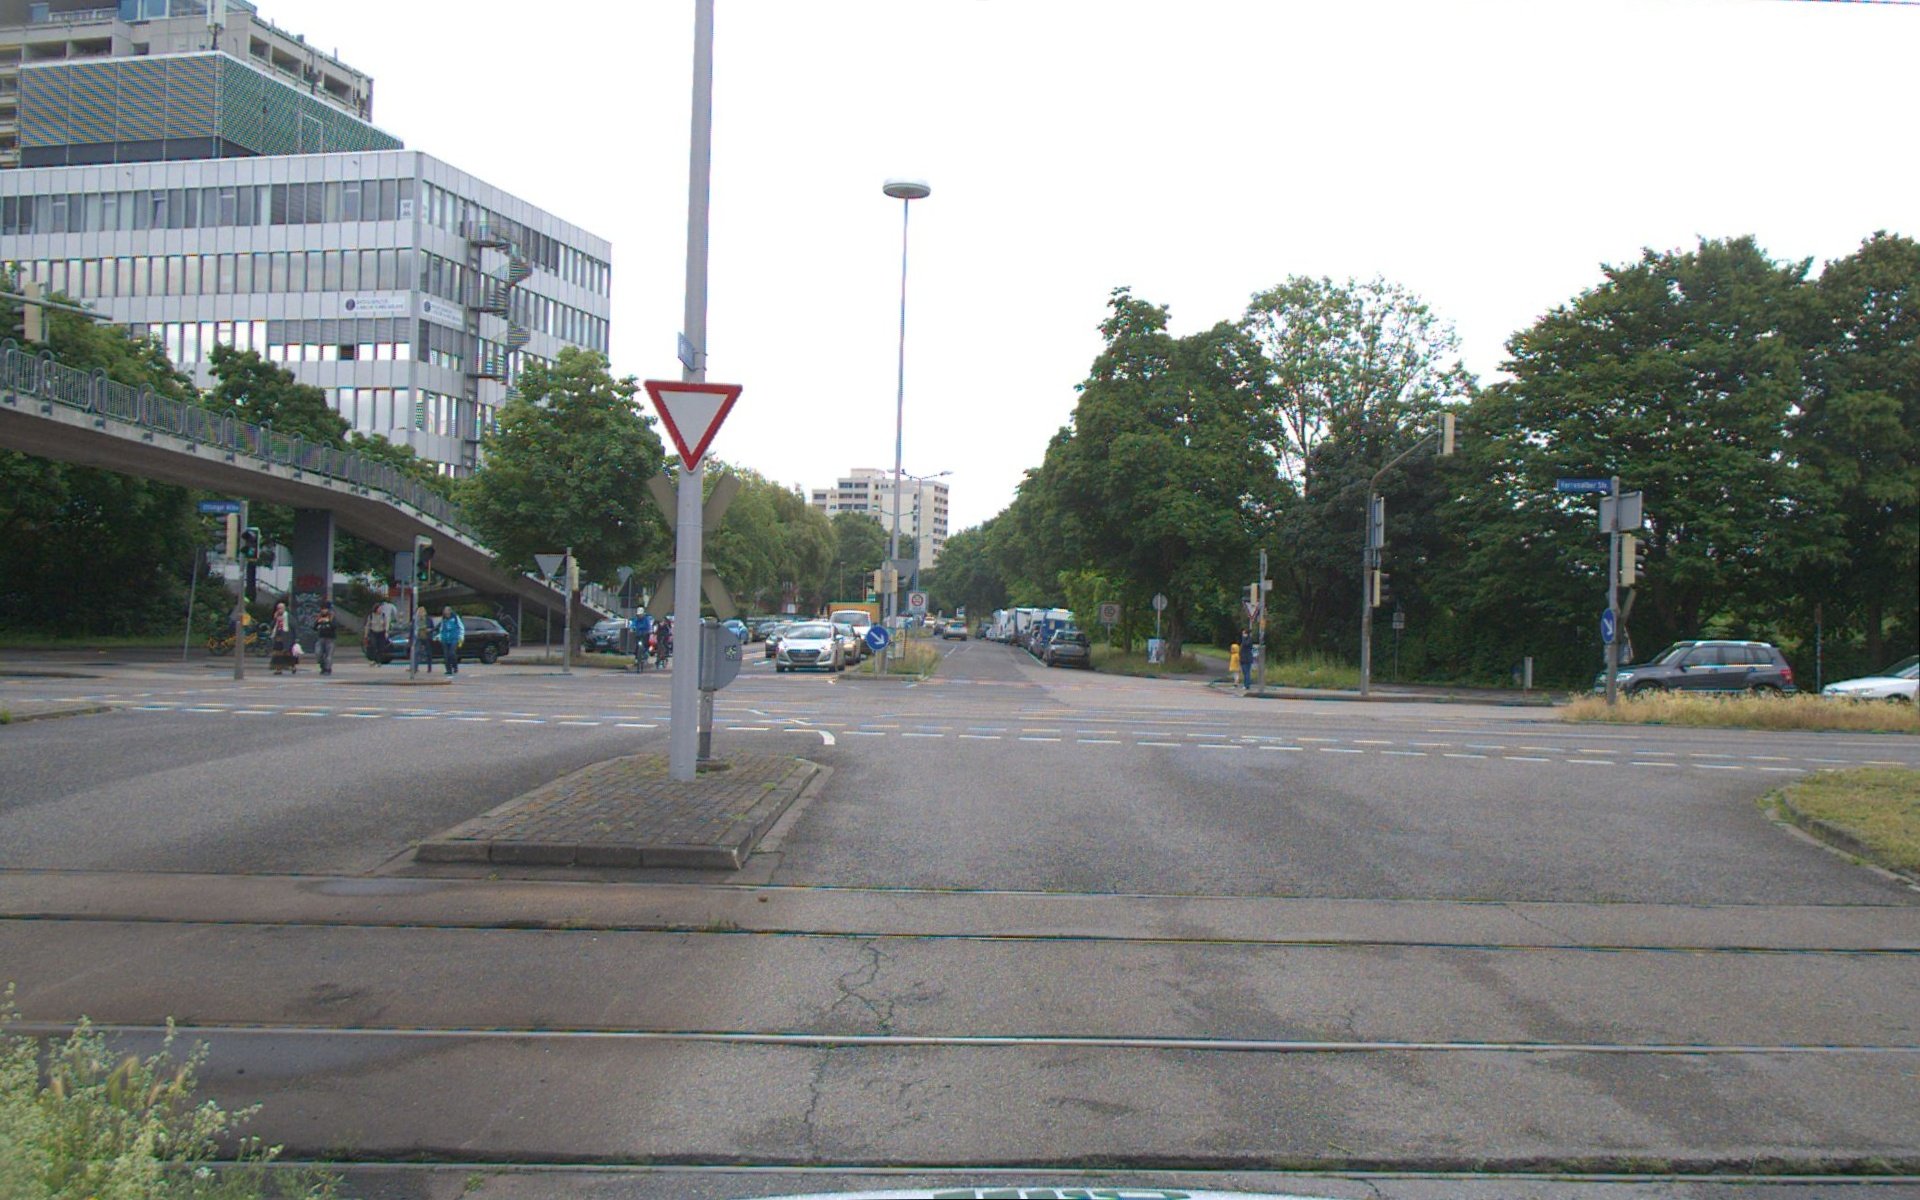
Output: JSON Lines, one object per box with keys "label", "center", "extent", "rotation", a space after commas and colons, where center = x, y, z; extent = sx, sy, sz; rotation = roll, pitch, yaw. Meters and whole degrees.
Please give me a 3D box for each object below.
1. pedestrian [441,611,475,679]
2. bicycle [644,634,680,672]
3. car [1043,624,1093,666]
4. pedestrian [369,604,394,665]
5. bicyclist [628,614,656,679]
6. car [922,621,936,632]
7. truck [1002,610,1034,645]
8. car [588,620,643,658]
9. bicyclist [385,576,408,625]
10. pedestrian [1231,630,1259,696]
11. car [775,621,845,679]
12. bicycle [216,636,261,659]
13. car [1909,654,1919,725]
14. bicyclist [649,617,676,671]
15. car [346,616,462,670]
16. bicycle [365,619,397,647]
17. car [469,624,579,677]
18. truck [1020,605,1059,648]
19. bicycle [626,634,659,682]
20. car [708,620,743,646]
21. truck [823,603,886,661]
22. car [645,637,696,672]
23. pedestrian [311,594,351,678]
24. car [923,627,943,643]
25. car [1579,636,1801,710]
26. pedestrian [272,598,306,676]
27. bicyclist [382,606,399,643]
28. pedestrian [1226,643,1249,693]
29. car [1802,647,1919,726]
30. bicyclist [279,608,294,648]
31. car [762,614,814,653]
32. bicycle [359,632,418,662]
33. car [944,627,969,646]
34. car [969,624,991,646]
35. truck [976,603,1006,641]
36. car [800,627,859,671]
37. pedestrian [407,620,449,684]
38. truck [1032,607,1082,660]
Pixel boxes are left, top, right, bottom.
{"label": "pedestrian", "center": [-12.332, 1.097, 40.642], "extent": [0.674, 1.633, 0.487], "rotation": [2, -1, -6]}
{"label": "bicycle", "center": [-9.187, 1.615, 51.057], "extent": [0.712, 1.120, 2.263], "rotation": [2, -1, -2]}
{"label": "car", "center": [4.584, 1.901, 70.493], "extent": [1.748, 1.691, 3.998], "rotation": [2, -1, -2]}
{"label": "pedestrian", "center": [-15.298, 0.906, 43.717], "extent": [0.570, 1.607, 0.777], "rotation": [2, -1, -20]}
{"label": "bicyclist", "center": [-8.830, 1.288, 45.959], "extent": [0.631, 1.800, 0.646], "rotation": [2, -1, -2]}
{"label": "car", "center": [-4.382, 3.695, 233.279], "extent": [1.979, 1.532, 3.998], "rotation": [2, -1, -2]}
{"label": "truck", "center": [4.467, 2.154, 128.718], "extent": [1.954, 2.618, 5.374], "rotation": [2, -1, -3]}
{"label": "car", "center": [-15.304, 1.705, 73.668], "extent": [1.637, 1.579, 3.891], "rotation": [2, -1, -1]}
{"label": "bicyclist", "center": [-19.748, 0.022, 57.960], "extent": [0.553, 1.673, 0.531], "rotation": [1, -2, -1]}
{"label": "pedestrian", "center": [7.894, 1.746, 45.864], "extent": [0.643, 1.780, 0.459], "rotation": [2, -1, -2]}
{"label": "car", "center": [-4.408, 1.448, 49.155], "extent": [1.753, 1.545, 4.324], "rotation": [-2, -1, -2]}
{"label": "bicycle", "center": [-23.226, 1.533, 53.281], "extent": [1.284, 0.704, 0.286], "rotation": [2, -1, -38]}
{"label": "car", "center": [24.390, 2.137, 38.171], "extent": [3.907, 1.646, 1.877], "rotation": [2, -1, -3]}
{"label": "bicyclist", "center": [-9.175, 1.356, 50.986], "extent": [0.665, 1.622, 0.695], "rotation": [1, -2, -2]}
{"label": "car", "center": [-16.938, 1.279, 50.622], "extent": [1.632, 1.534, 4.401], "rotation": [2, 0, 6]}
{"label": "bicycle", "center": [-20.294, 1.146, 57.995], "extent": [0.515, 0.965, 1.709], "rotation": [1, -1, 0]}
{"label": "car", "center": [-13.982, 1.602, 53.271], "extent": [1.636, 1.579, 4.003], "rotation": [1, -1, 15]}
{"label": "truck", "center": [5.568, 1.884, 116.678], "extent": [1.955, 2.888, 5.725], "rotation": [2, -1, -5]}
{"label": "bicycle", "center": [-8.885, 1.613, 46.376], "extent": [0.532, 1.289, 2.110], "rotation": [2, -1, -2]}
{"label": "car", "center": [-14.842, 2.079, 104.825], "extent": [1.637, 1.579, 3.999], "rotation": [2, -1, -1]}
{"label": "truck", "center": [-4.275, 1.296, 67.748], "extent": [2.111, 2.237, 5.840], "rotation": [2, -1, 0]}
{"label": "car", "center": [-12.445, 2.334, 71.270], "extent": [1.481, 1.415, 3.532], "rotation": [1, -1, 1]}
{"label": "pedestrian", "center": [-14.119, 0.802, 37.135], "extent": [0.625, 1.835, 0.800], "rotation": [2, -1, -10]}
{"label": "car", "center": [-2.742, 3.570, 167.358], "extent": [1.979, 1.532, 3.998], "rotation": [2, -1, -2]}
{"label": "car", "center": [17.001, 1.682, 38.670], "extent": [4.374, 1.530, 1.846], "rotation": [2, -1, -1]}
{"label": "pedestrian", "center": [-14.936, 0.828, 36.824], "extent": [0.608, 1.721, 0.403], "rotation": [2, -1, -15]}
{"label": "bicyclist", "center": [-18.672, 0.811, 54.245], "extent": [0.396, 1.202, 0.377], "rotation": [1, -1, 1]}
{"label": "pedestrian", "center": [7.809, 1.908, 46.484], "extent": [0.516, 1.365, 0.524], "rotation": [2, -1, -2]}
{"label": "car", "center": [18.292, 1.639, 31.131], "extent": [4.052, 1.381, 1.647], "rotation": [2, -1, -1]}
{"label": "bicyclist", "center": [-22.584, 0.949, 55.474], "extent": [0.380, 1.326, 0.274], "rotation": [2, -1, -38]}
{"label": "car", "center": [-7.002, 1.354, 67.678], "extent": [1.734, 1.503, 4.388], "rotation": [2, -1, -1]}
{"label": "bicycle", "center": [-18.667, 1.531, 54.067], "extent": [0.746, 0.965, 1.954], "rotation": [1, -1, 18]}
{"label": "car", "center": [-0.328, 3.118, 140.802], "extent": [1.979, 1.532, 3.998], "rotation": [2, -1, -2]}
{"label": "car", "center": [1.842, 3.257, 154.766], "extent": [1.619, 1.952, 3.914], "rotation": [2, 0, -5]}
{"label": "truck", "center": [2.569, 1.880, 139.468], "extent": [1.954, 3.062, 5.766], "rotation": [2, -1, -4]}
{"label": "car", "center": [-4.673, 1.737, 59.656], "extent": [1.858, 1.445, 4.734], "rotation": [2, -1, -2]}
{"label": "pedestrian", "center": [-13.139, 1.282, 40.839], "extent": [0.901, 1.537, 0.402], "rotation": [2, -1, -13]}
{"label": "truck", "center": [5.075, 1.773, 87.312], "extent": [2.130, 2.703, 6.243], "rotation": [1, -1, -2]}
